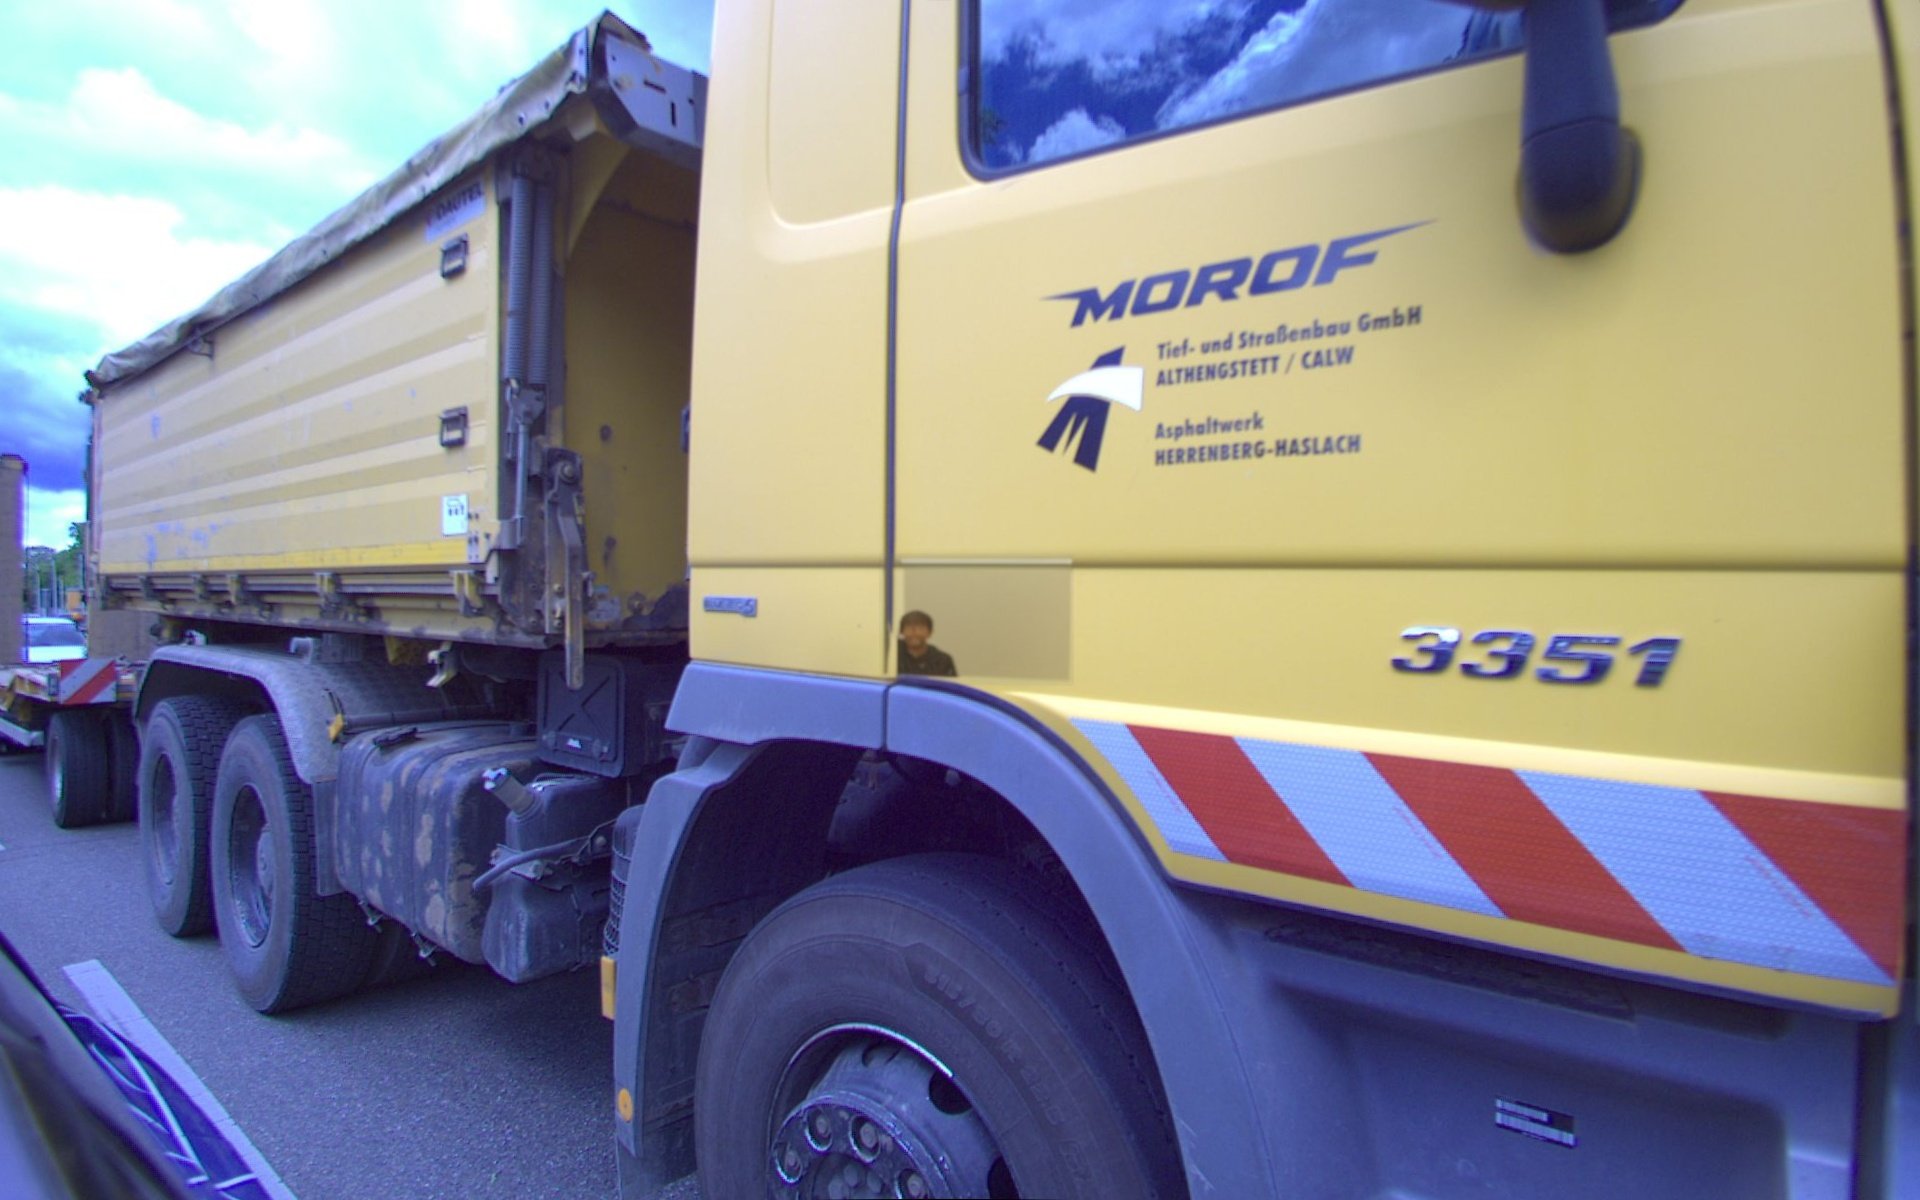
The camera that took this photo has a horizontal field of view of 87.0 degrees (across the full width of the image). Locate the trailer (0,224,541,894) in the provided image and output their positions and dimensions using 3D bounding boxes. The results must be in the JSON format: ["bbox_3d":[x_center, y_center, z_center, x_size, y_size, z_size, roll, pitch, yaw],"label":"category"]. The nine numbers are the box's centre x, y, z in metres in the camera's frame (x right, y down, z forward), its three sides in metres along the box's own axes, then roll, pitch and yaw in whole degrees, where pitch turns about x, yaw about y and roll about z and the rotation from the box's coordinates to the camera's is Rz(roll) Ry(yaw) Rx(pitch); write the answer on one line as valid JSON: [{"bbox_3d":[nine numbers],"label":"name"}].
[{"bbox_3d":[-8.028,-0.167,10.008,10.910,3.548,2.678,-1,0,42],"label":"trailer"}]

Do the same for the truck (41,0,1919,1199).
[{"bbox_3d":[-1.071,0.001,3.788,7.776,3.026,2.691,0,1,42],"label":"truck"}]

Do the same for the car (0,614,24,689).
[{"bbox_3d":[-21.423,1.080,21.657,3.999,1.490,1.670,0,1,42],"label":"car"}]

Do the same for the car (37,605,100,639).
[{"bbox_3d":[-40.846,0.987,46.343,4.043,1.480,1.758,-1,0,42],"label":"car"}]

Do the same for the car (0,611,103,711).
[{"bbox_3d":[-16.018,0.962,17.204,3.999,1.490,1.670,0,1,42],"label":"car"}]
